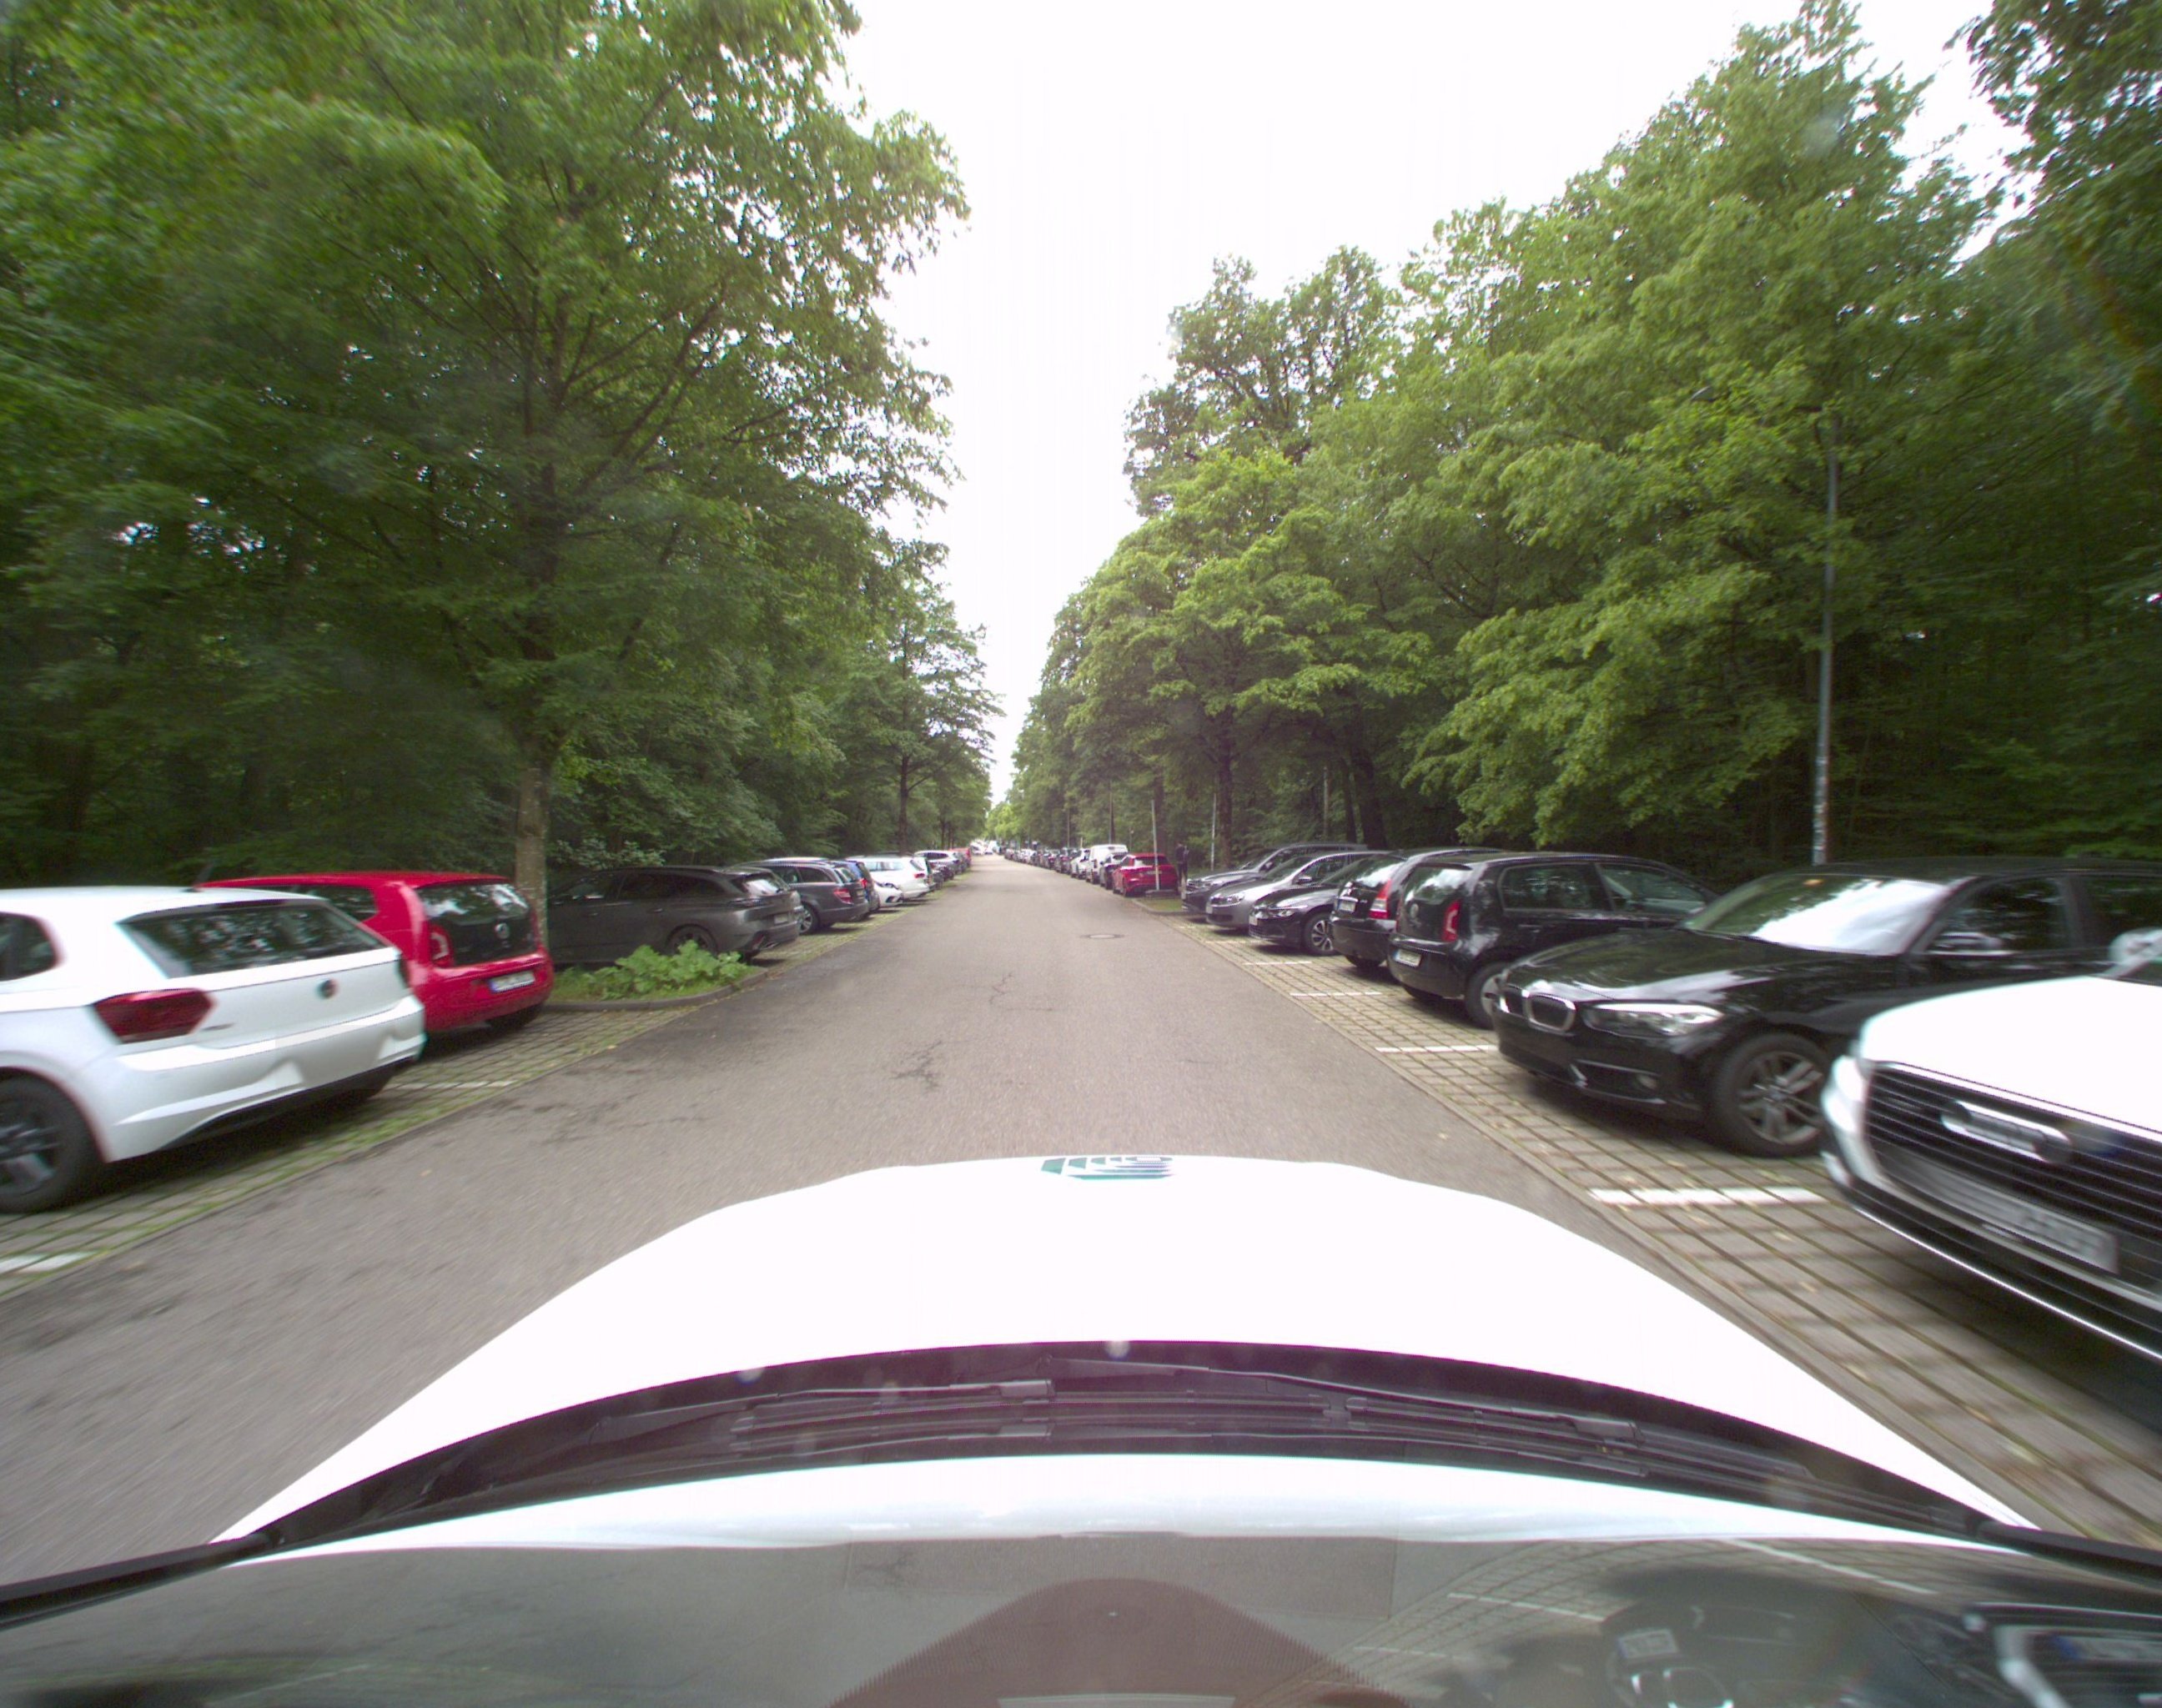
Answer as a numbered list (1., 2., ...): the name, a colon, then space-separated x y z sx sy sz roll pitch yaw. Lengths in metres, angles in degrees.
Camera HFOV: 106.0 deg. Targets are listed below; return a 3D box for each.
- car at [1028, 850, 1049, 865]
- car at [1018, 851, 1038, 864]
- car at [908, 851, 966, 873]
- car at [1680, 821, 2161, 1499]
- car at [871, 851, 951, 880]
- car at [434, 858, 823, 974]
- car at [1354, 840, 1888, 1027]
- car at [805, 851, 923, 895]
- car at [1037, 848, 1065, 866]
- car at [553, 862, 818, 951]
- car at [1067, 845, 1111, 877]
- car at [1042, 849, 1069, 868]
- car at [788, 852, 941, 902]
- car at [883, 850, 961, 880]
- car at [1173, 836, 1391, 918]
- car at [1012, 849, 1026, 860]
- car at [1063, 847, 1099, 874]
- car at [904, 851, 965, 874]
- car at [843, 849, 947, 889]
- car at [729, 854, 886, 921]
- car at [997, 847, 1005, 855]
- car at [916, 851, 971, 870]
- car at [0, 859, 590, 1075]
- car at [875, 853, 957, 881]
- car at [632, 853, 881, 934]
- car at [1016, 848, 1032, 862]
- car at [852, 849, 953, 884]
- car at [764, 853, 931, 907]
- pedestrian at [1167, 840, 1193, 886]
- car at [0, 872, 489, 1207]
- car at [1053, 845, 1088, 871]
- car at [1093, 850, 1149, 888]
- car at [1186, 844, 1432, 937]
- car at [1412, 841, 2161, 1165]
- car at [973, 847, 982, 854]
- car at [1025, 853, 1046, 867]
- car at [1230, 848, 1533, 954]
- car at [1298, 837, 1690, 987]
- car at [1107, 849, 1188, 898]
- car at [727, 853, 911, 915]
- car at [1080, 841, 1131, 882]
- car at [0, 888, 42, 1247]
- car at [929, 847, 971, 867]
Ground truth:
1. car: -4.367 0.312 83.310 1.666 1.444 3.800 -1 0 -10
2. car: -6.252 0.380 95.971 1.723 1.494 3.758 -1 0 -13
3. car: -10.390 0.586 59.028 4.107 1.480 1.991 -1 0 -9
4. car: 4.499 0.677 2.421 3.993 1.559 1.979 0 1 2
5. car: -9.162 0.616 44.090 4.016 1.465 1.796 -1 0 -5
6. car: -6.242 0.817 11.706 4.392 1.424 2.035 -1 0 -1
7. car: 4.764 0.650 7.613 3.816 1.457 1.808 -1 0 -1
8. car: -8.279 0.697 31.418 4.236 1.550 1.841 -1 0 -11
9. car: -2.709 0.224 72.763 1.977 1.537 4.609 0 0 -8
10. car: -6.788 0.868 14.287 3.745 1.387 1.756 -1 0 0
11. car: 0.385 0.355 44.937 1.784 1.662 4.705 0 0 -8
12. car: -2.125 0.317 66.950 1.636 1.477 4.138 -1 0 -9
13. car: -7.031 0.711 26.851 4.555 1.486 1.866 -1 0 -5
14. car: -9.005 0.588 46.454 4.219 1.633 2.025 0 0 -6
15. car: 4.266 0.460 17.776 4.256 1.666 1.956 0 0 -3
16. car: -8.696 0.009 113.809 1.709 1.509 3.990 0 0 -7
17. car: -0.051 0.379 50.773 1.749 1.607 4.435 0 0 -7
18. car: -10.170 0.579 56.640 4.089 1.523 1.923 -1 0 -10
19. car: -7.709 0.616 34.089 4.030 1.555 1.915 -1 0 -8
20. car: -6.423 0.762 19.424 3.214 1.444 1.677 -1 0 -6
21. car: -17.163 -0.665 175.251 1.627 1.415 3.402 0 3 -8
22. car: -11.231 0.488 66.398 4.299 1.449 1.749 -1 0 -13
23. car: -6.416 0.843 6.877 3.454 1.481 1.683 -1 0 -1
24. car: -8.408 0.654 41.740 3.984 1.364 1.782 0 0 -8
25. car: -6.486 0.758 16.716 4.254 1.486 2.057 -1 0 -2
26. car: -7.114 0.096 101.825 1.709 1.728 3.990 0 0 -7
27. car: -8.499 0.560 39.032 4.510 1.584 1.923 -1 0 -7
28. car: -6.893 0.742 24.511 4.561 1.447 2.079 -1 0 -9
29. pedestrian: 3.767 0.321 31.010 0.816 1.725 1.002 0 0 -5
30. car: -5.886 0.879 4.555 3.714 1.419 1.872 -1 0 0
31. car: -0.788 0.244 56.439 1.888 1.747 4.936 0 0 -7
32. car: 1.565 0.580 33.387 1.722 1.422 4.277 0 0 -5
33. car: 4.160 0.611 15.193 3.985 1.551 1.970 -1 0 -9
34. car: 4.475 0.700 4.954 4.177 1.511 1.891 0 1 -3
35. car: -21.779 -0.713 171.951 1.737 1.161 3.405 0 3 -6
36. car: -5.104 0.691 90.217 1.936 1.475 3.980 -1 0 -9
37. car: 4.469 0.659 12.565 3.976 1.475 1.951 0 0 -2
38. car: 4.796 0.622 9.853 3.817 1.531 1.849 -1 0 -2
39. car: 2.153 0.584 27.892 1.990 1.479 4.963 0 0 -5
40. car: -6.883 0.754 21.799 4.362 1.486 1.887 -1 0 -8
41. car: 1.122 0.314 38.784 1.743 1.780 4.541 0 0 -7
42. car: -6.153 0.899 2.286 3.794 1.421 1.895 -1 0 -4
43. car: -12.657 0.296 78.793 3.988 1.816 2.107 -1 0 -11
